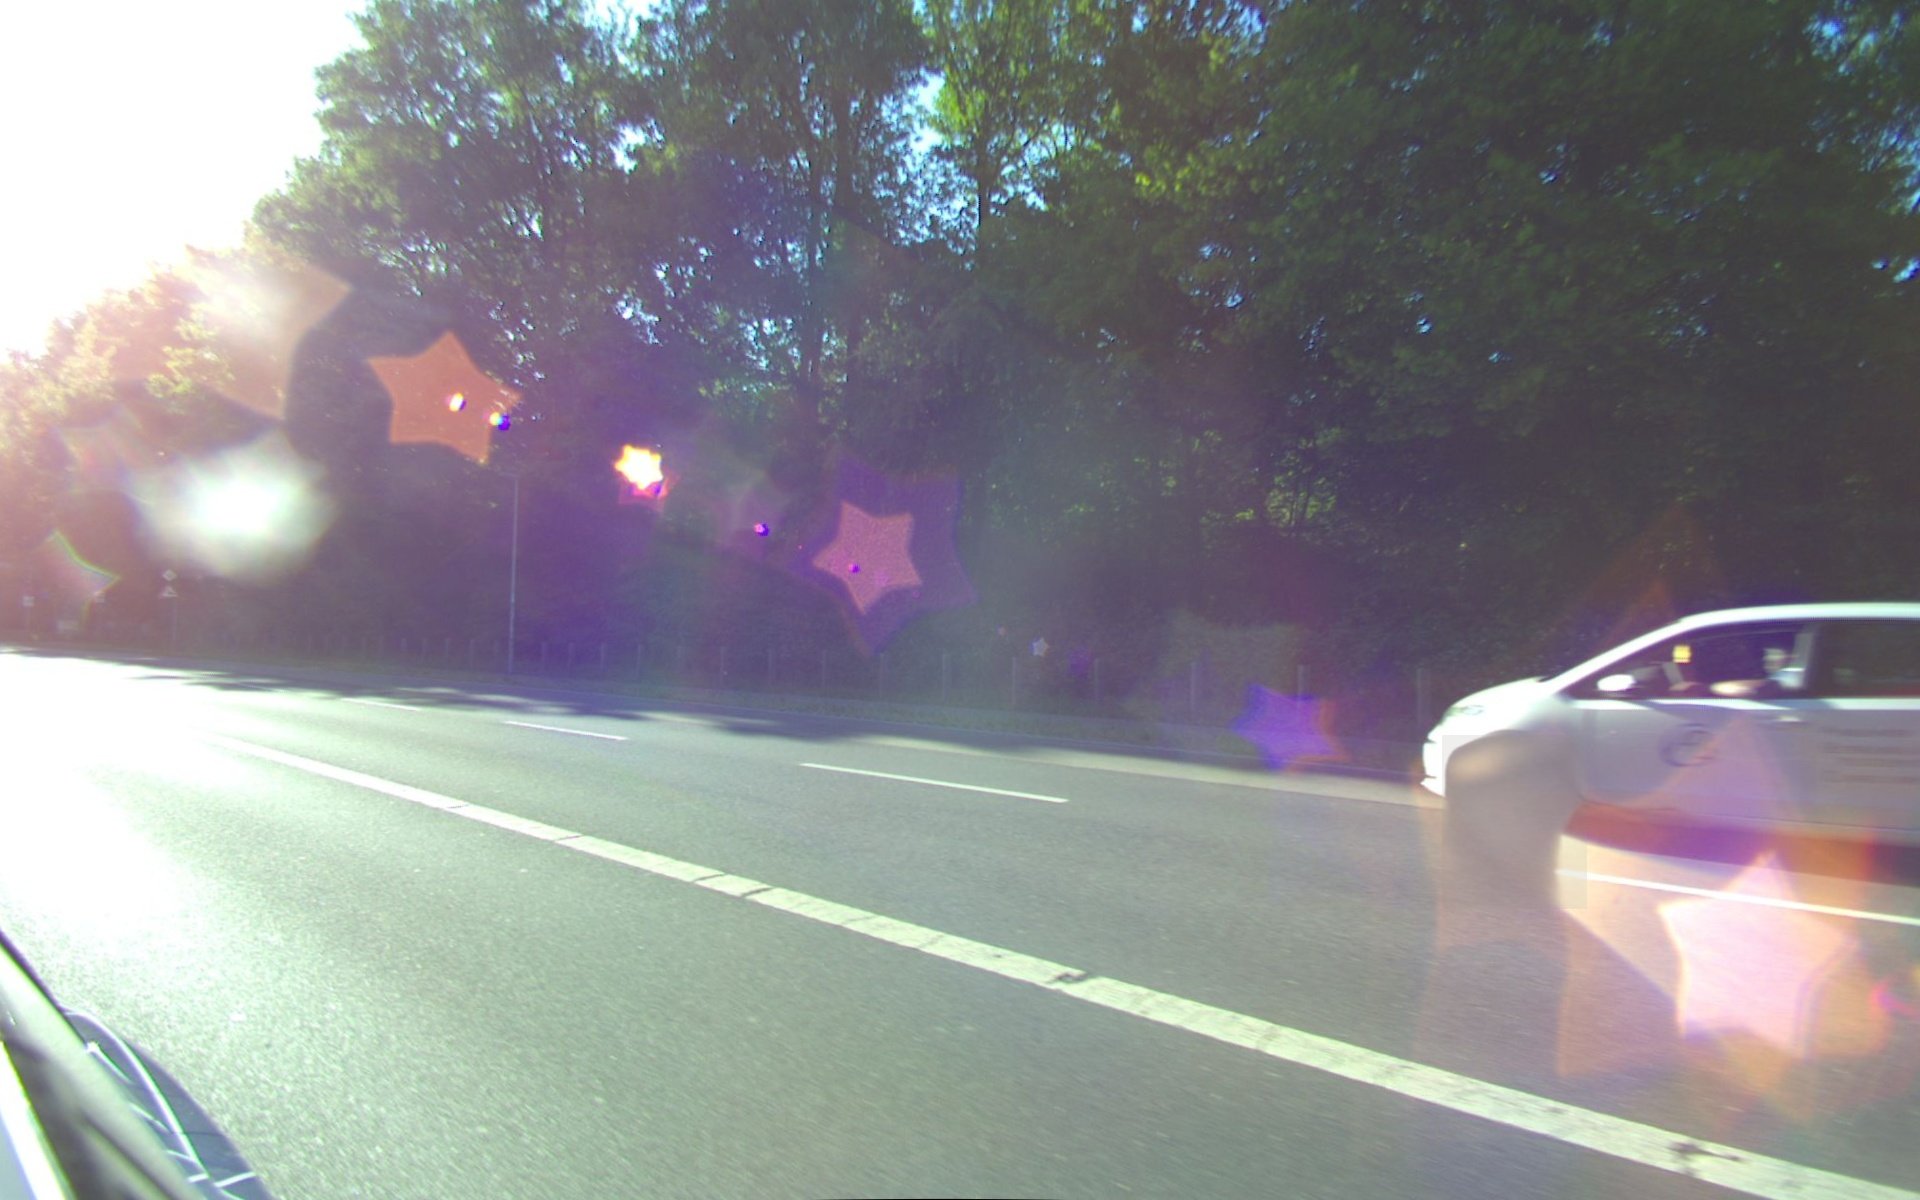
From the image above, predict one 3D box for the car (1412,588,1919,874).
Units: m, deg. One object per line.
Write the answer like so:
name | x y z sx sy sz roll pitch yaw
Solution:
car | 5.175 0.668 5.964 4.307 1.448 1.571 -1 0 41
